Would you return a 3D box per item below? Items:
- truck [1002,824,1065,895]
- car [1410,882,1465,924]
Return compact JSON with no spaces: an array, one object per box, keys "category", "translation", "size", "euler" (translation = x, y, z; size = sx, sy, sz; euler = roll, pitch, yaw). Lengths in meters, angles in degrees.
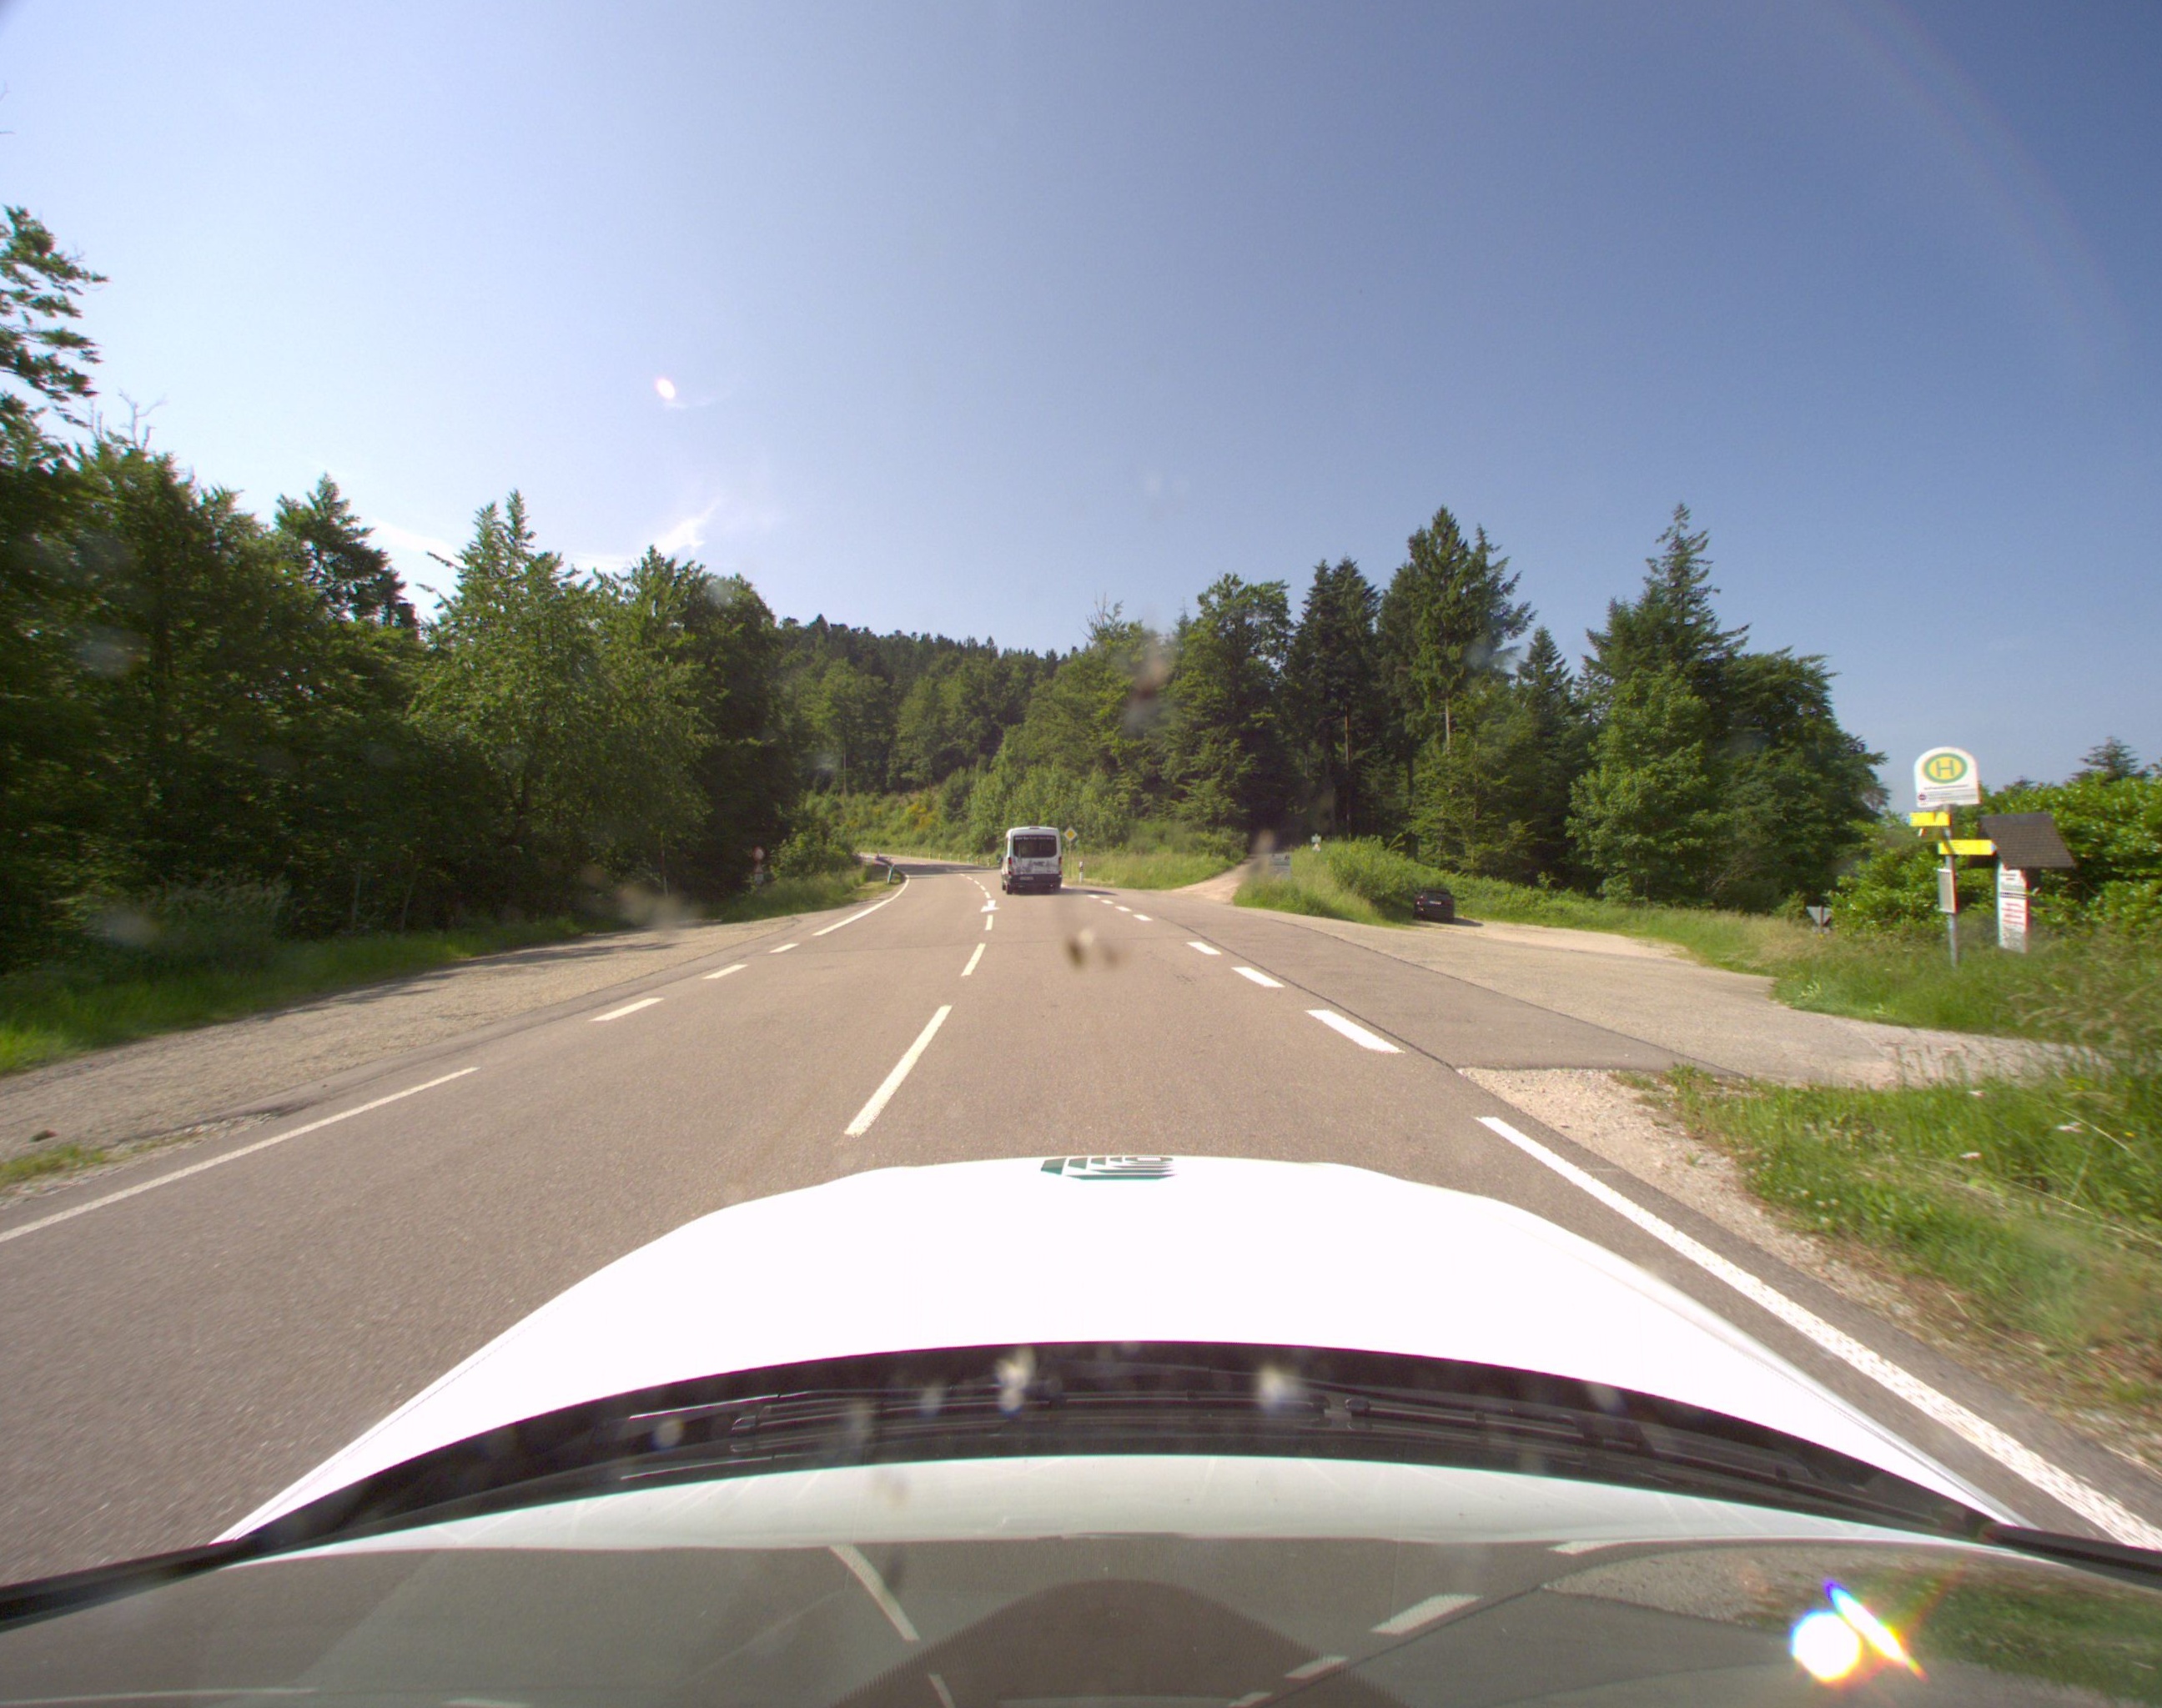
[{"category":"truck","translation":[-1.959,0.179,31.759],"size":[2.113,2.498,5.347],"euler":[-1,0,-7]},{"category":"car","translation":[17.170,2.295,39.120],"size":[1.915,1.593,4.024],"euler":[6,2,29]}]
